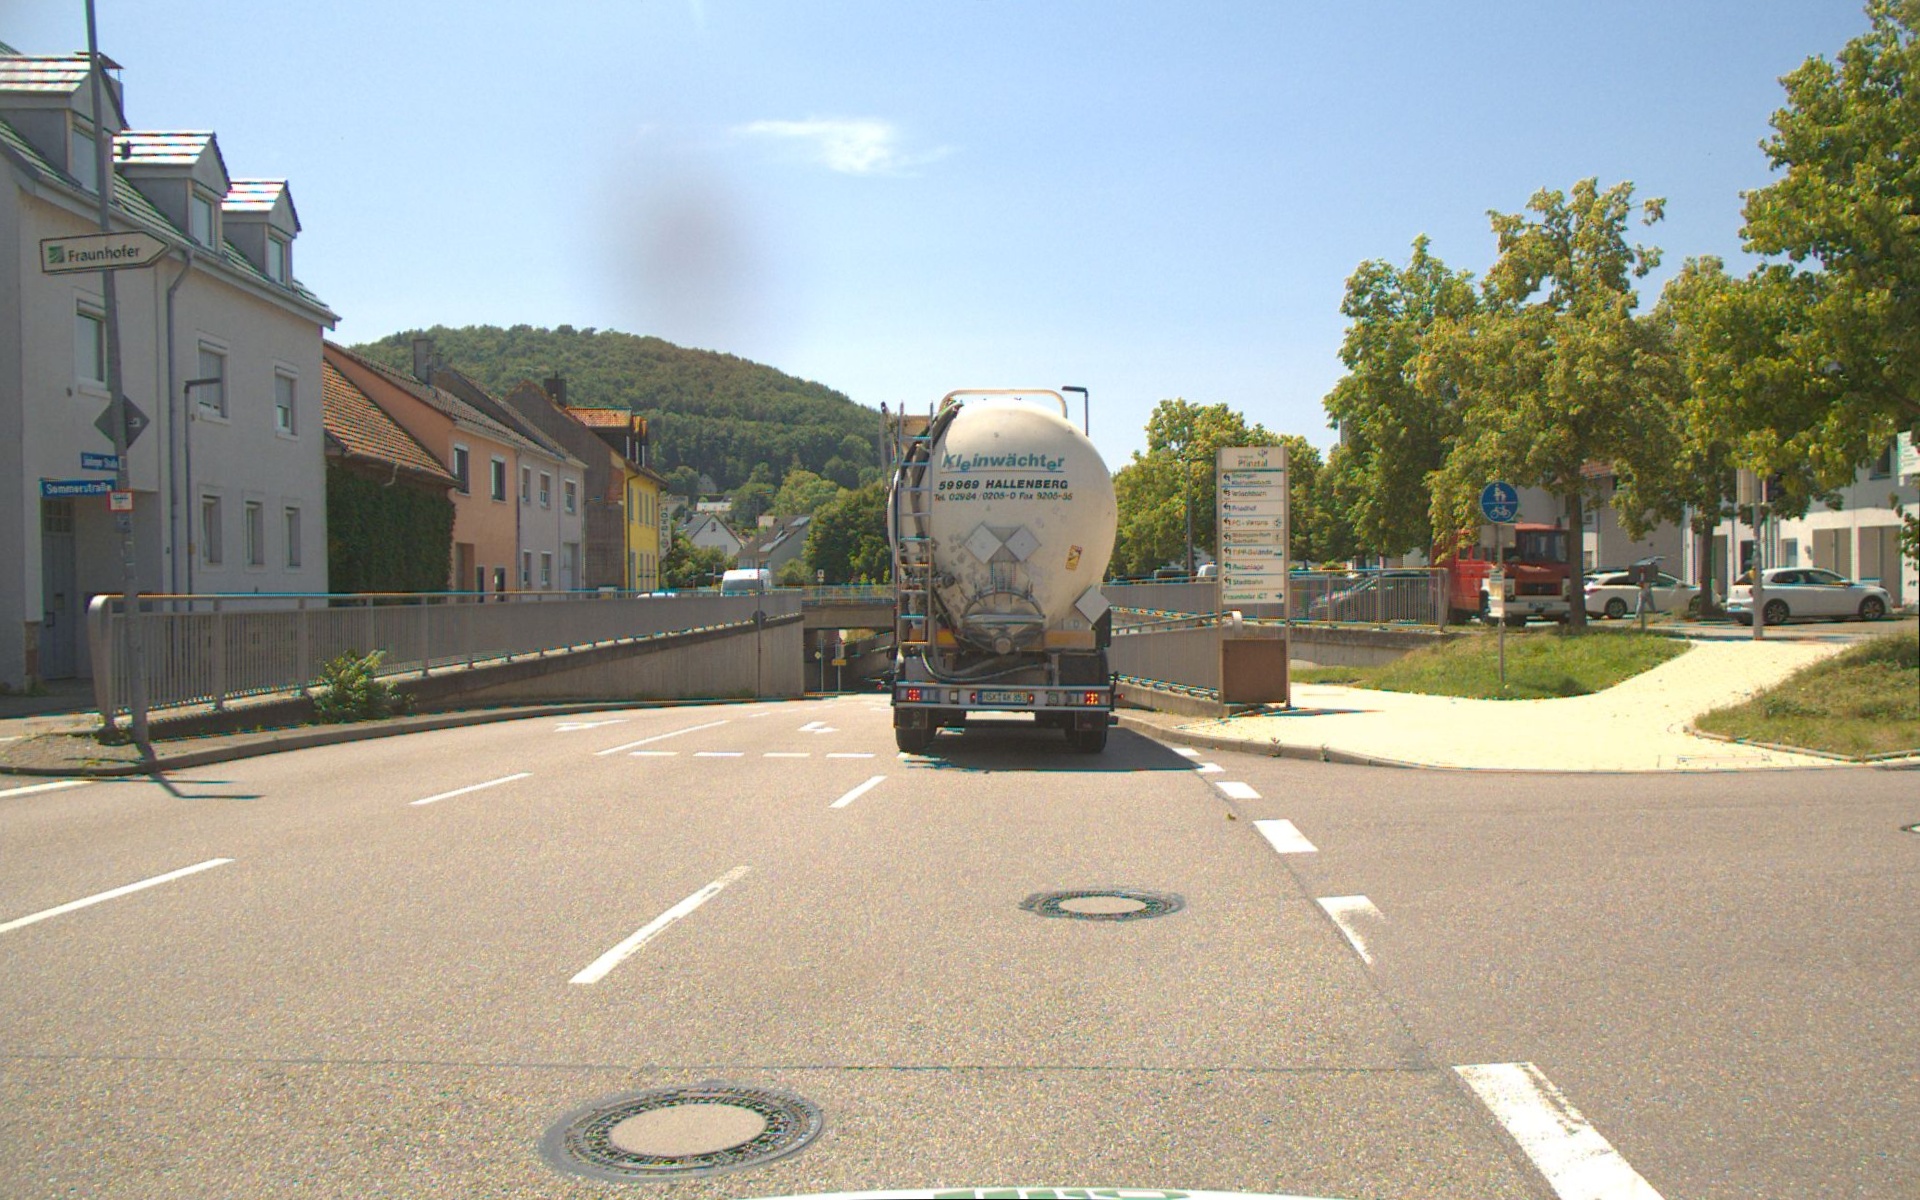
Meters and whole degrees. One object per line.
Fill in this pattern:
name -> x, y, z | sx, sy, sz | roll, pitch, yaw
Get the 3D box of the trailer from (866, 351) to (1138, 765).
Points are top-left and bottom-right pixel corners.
trailer -> 0.486, -0.193, 23.302 | 2.679, 4.136, 13.311 | -1, -2, 1

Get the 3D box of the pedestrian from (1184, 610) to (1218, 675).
pedestrian -> 6.835, 1.207, 46.927 | 0.819, 1.813, 0.788 | -1, -2, 0

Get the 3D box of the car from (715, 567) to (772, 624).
car -> -10.386, -0.212, 79.641 | 2.023, 2.581, 5.660 | 1, 0, -1

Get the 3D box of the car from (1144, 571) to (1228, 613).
car -> 10.810, -0.375, 79.287 | 3.825, 1.918, 1.686 | -1, 0, 1

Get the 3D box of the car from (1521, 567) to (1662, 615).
car -> 22.528, -0.313, 59.065 | 4.316, 1.516, 1.757 | -3, 0, 0

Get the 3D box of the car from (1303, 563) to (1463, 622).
car -> 11.467, -0.190, 45.029 | 3.905, 1.525, 1.749 | -1, 0, 1

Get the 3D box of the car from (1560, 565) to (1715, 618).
car -> 22.080, -0.269, 54.007 | 4.316, 1.516, 1.757 | -3, 0, 0

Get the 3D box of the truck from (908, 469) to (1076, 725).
truck -> 0.546, 0.059, 30.227 | 2.679, 4.136, 6.528 | -1, -2, 1

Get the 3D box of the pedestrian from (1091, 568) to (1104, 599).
pedestrian -> 8.048, -0.979, 96.711 | 0.659, 1.811, 0.594 | -1, -1, 1

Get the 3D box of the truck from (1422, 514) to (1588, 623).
truck -> 12.651, -0.697, 38.782 | 2.089, 2.375, 5.258 | 0, 0, -1

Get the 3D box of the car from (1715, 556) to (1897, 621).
car -> 22.308, -0.293, 43.708 | 3.857, 1.504, 1.757 | -3, 0, 0

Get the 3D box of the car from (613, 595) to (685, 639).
car -> -10.950, 0.573, 58.483 | 1.776, 1.488, 4.309 | 1, 0, -1

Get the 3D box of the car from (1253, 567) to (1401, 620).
car -> 11.051, -0.192, 49.967 | 4.118, 1.525, 1.686 | -1, 0, 1

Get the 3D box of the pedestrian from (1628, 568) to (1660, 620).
pedestrian -> 21.010, -0.189, 50.789 | 0.604, 1.537, 0.736 | -3, 0, 44

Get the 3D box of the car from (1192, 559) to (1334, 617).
car -> 11.381, -0.440, 62.331 | 5.007, 2.099, 1.989 | -1, 0, 1
